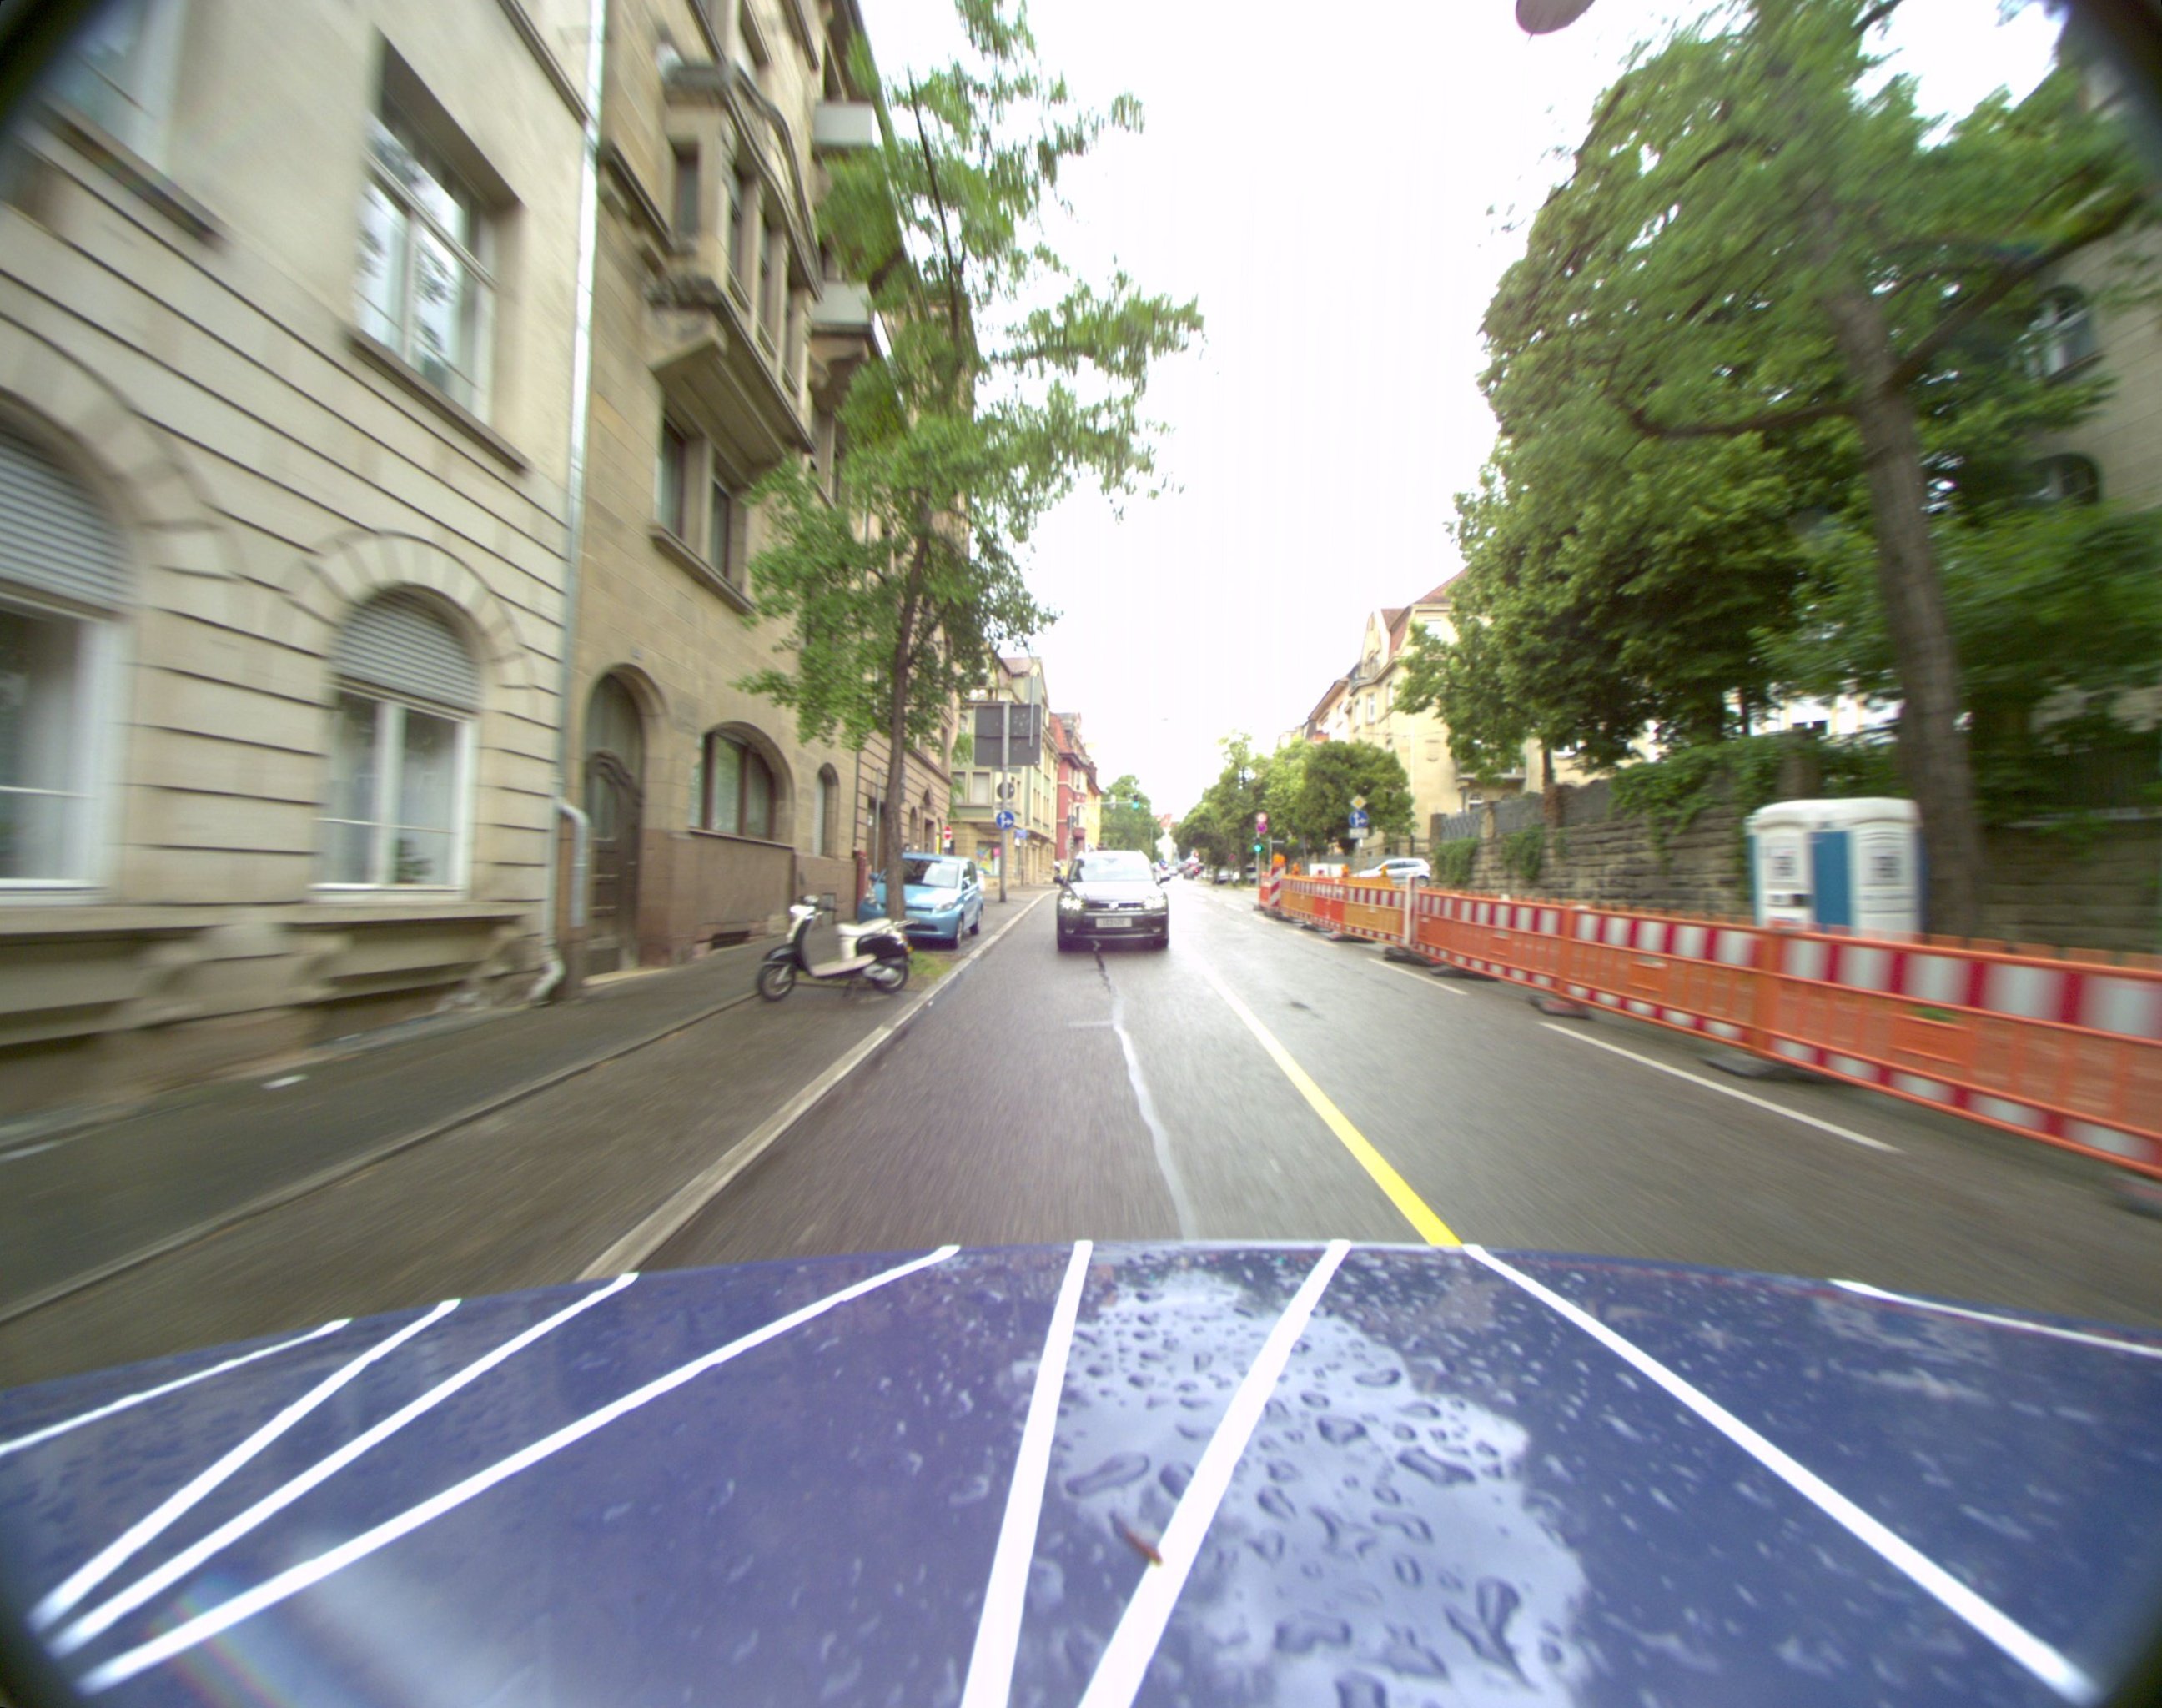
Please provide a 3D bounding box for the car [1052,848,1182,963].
[{"bbox_3d":[0.593,0.776,13.537,1.860,1.641,5.196,0,-1,2],"label":"car"}]

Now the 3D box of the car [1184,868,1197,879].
[{"bbox_3d":[17.460,3.079,121.035,1.819,1.507,4.553,2,-3,7],"label":"car"}]

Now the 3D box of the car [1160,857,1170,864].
[{"bbox_3d":[18.755,1.442,169.624,1.923,1.552,4.016,3,1,11],"label":"car"}]

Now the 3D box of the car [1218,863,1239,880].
[{"bbox_3d":[15.007,1.757,77.502,1.745,1.550,4.304,-2,0,7],"label":"car"}]

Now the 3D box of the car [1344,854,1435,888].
[{"bbox_3d":[15.306,0.846,37.911,3.868,1.401,1.827,-4,1,12],"label":"car"}]

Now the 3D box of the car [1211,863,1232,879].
[{"bbox_3d":[15.844,1.898,85.737,1.745,1.550,4.303,-3,0,4],"label":"car"}]

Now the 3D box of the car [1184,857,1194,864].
[{"bbox_3d":[22.439,1.366,157.721,1.714,1.471,4.118,2,0,13],"label":"car"}]

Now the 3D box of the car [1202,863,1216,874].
[{"bbox_3d":[20.194,2.284,119.933,1.745,1.550,4.304,-2,0,5],"label":"car"}]

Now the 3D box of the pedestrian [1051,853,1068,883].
[{"bbox_3d":[-1.313,0.854,46.112,0.721,1.763,0.664,2,-1,-33],"label":"pedestrian"}]

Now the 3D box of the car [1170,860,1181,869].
[{"bbox_3d":[16.720,1.886,134.443,1.775,1.508,4.103,0,0,10],"label":"car"}]

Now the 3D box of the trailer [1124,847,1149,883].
[{"bbox_3d":[4.867,0.958,66.092,1.966,3.023,2.366,-2,0,6],"label":"trailer"}]

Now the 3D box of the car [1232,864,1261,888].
[{"bbox_3d":[12.193,1.584,56.209,1.745,1.550,4.304,-2,0,7],"label":"car"}]

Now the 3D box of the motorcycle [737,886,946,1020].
[{"bbox_3d":[-2.464,0.973,7.948,1.943,1.228,0.656,2,-1,-35],"label":"motorcycle"}]

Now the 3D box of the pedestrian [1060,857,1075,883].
[{"bbox_3d":[-0.840,1.007,46.673,0.600,1.575,0.664,2,-1,-30],"label":"pedestrian"}]

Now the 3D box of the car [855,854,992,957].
[{"bbox_3d":[-2.697,0.808,13.768,1.661,1.534,3.665,2,1,0],"label":"car"}]

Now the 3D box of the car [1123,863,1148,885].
[{"bbox_3d":[4.535,1.625,62.832,1.924,1.641,4.137,-2,0,6],"label":"car"}]

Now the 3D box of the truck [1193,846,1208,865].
[{"bbox_3d":[26.215,0.320,166.609,2.653,3.832,9.312,2,0,6],"label":"truck"}]
